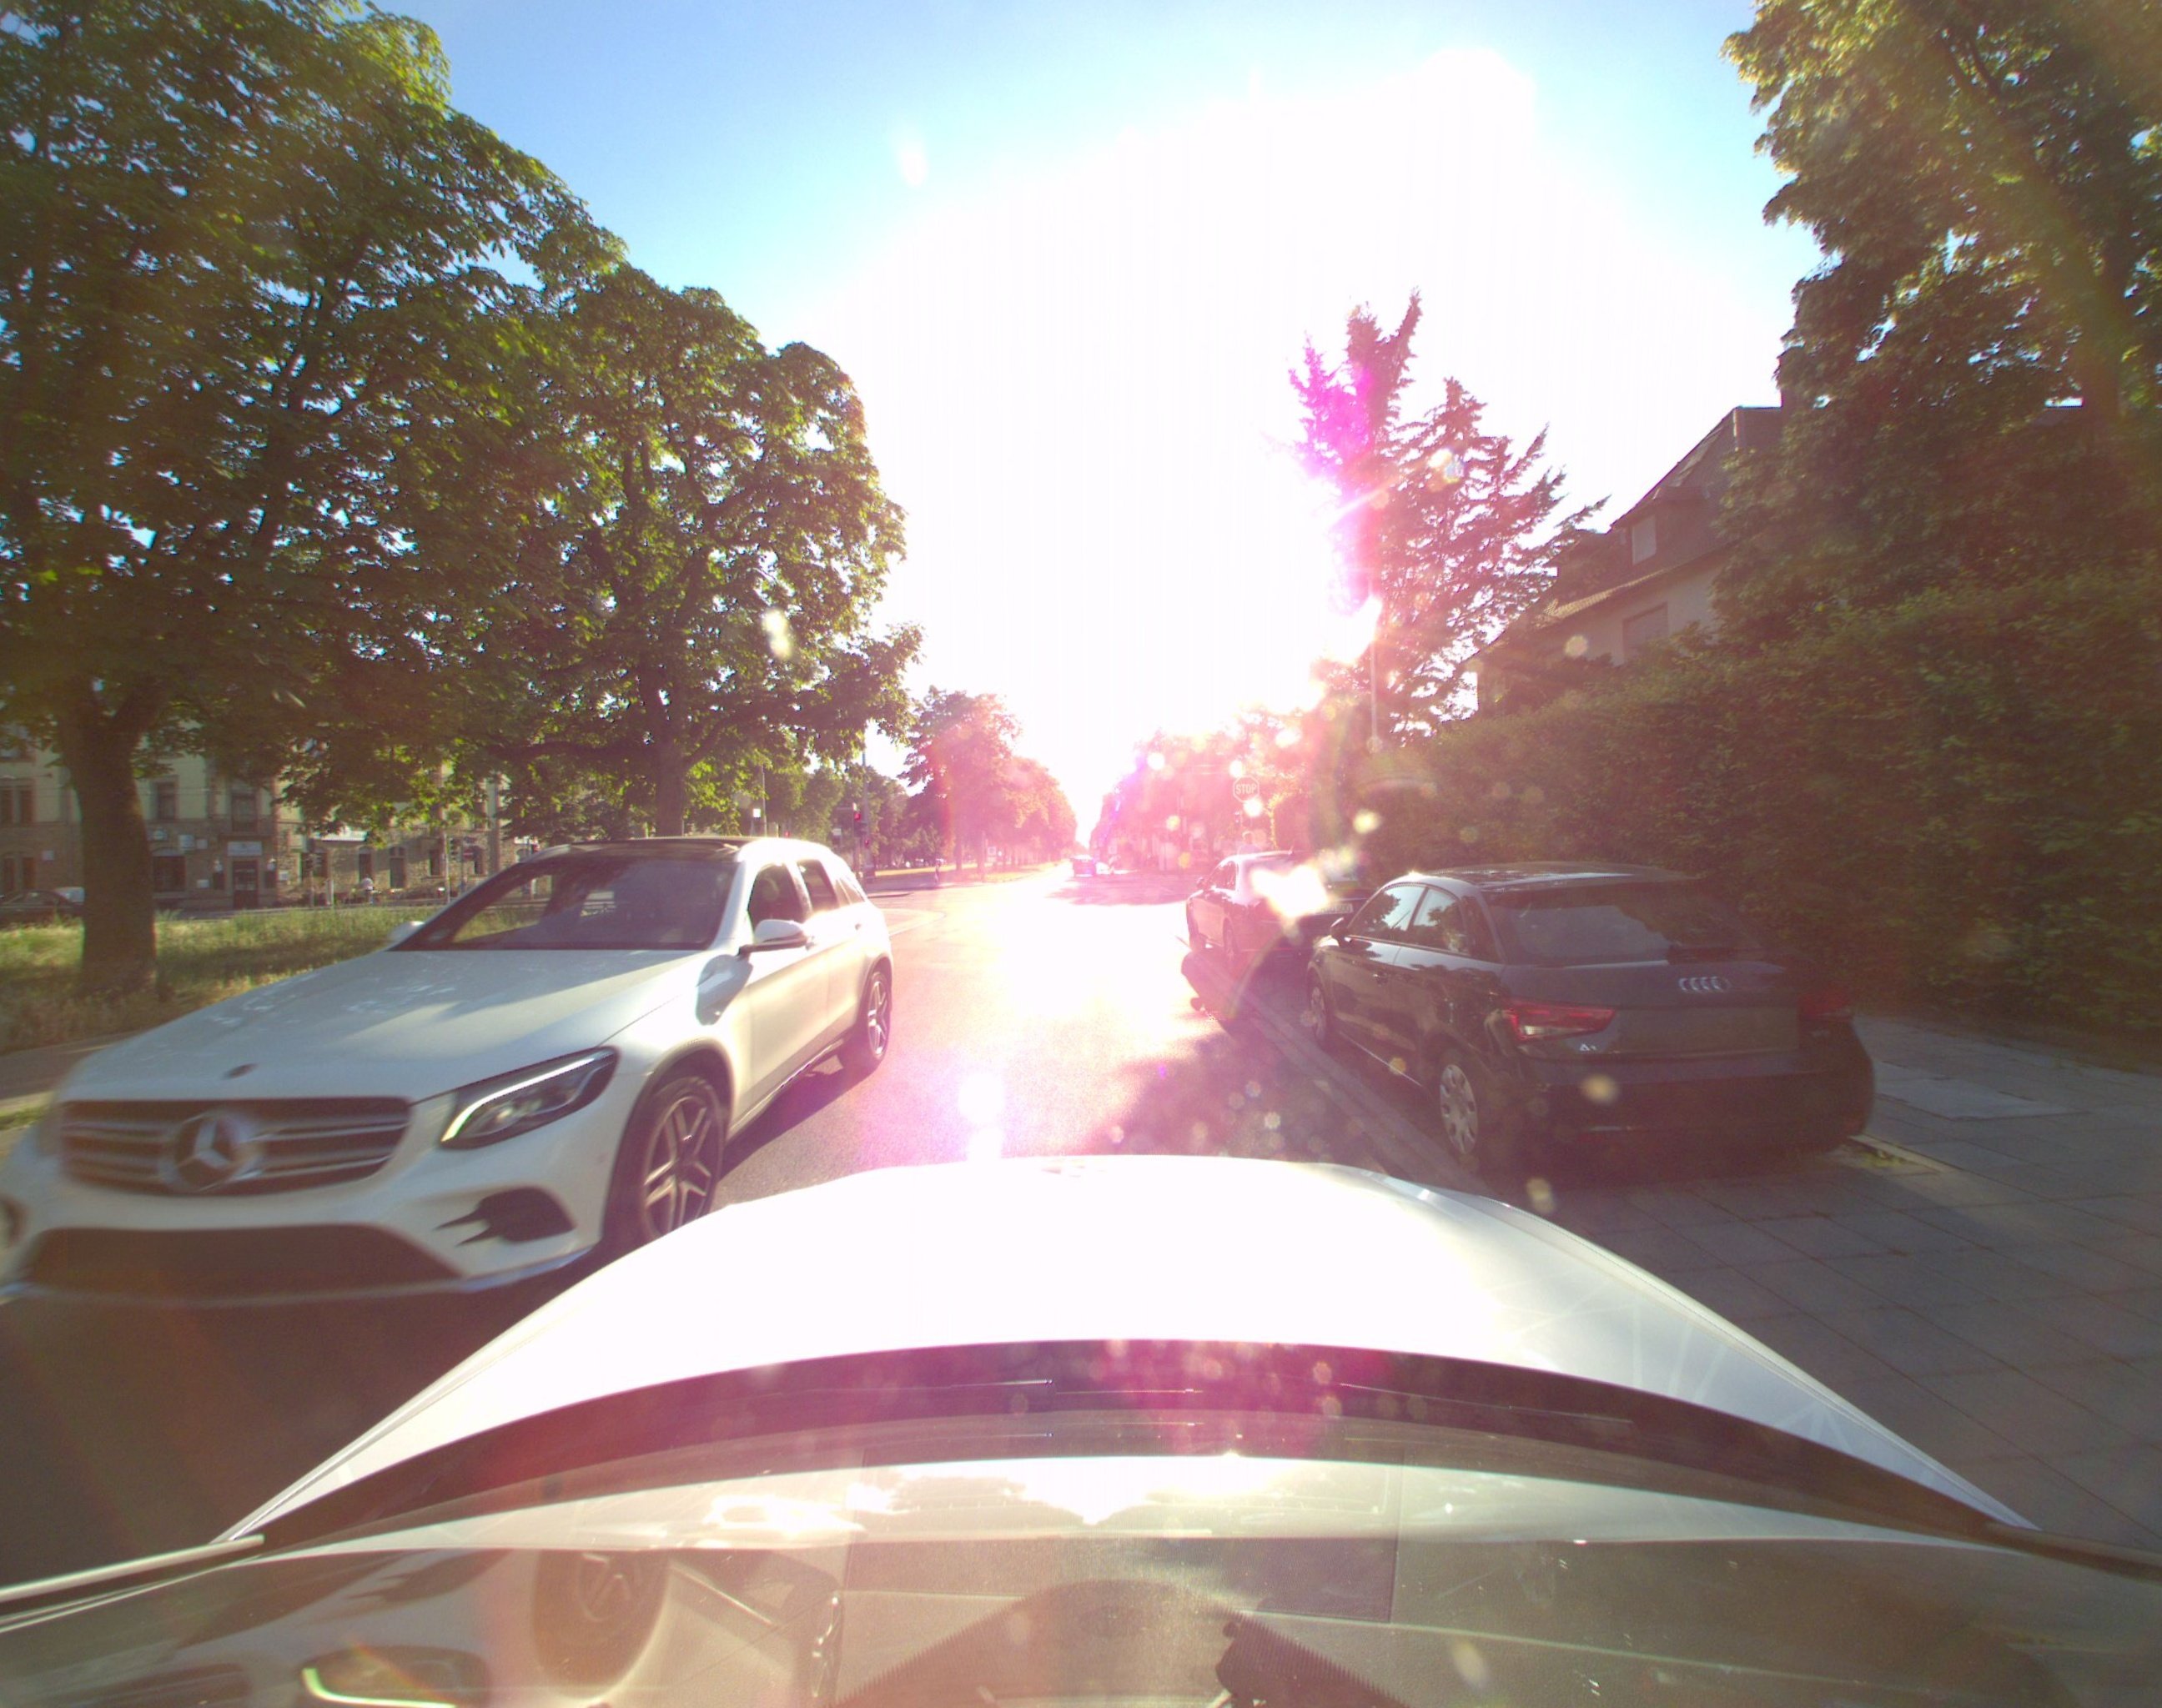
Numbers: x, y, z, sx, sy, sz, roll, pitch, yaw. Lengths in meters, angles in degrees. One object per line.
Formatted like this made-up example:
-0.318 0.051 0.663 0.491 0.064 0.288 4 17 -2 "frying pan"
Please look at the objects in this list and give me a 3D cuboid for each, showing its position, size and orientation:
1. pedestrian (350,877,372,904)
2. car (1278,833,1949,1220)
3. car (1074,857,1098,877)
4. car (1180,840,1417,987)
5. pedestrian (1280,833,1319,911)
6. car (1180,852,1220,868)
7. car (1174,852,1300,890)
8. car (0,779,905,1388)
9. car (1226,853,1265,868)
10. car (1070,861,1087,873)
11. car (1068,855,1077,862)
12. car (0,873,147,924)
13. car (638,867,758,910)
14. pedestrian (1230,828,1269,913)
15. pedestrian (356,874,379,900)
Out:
-44.761 2.256 50.617 0.724 1.642 0.812 -1 -1 -13 "pedestrian"
2.563 0.682 5.161 1.636 1.427 3.936 -3 0 0 "car"
0.408 0.993 61.952 1.634 1.451 3.309 -1 0 3 "car"
2.654 0.660 11.250 1.854 1.542 4.870 -1 0 -1 "car"
4.930 0.403 18.428 0.667 1.708 0.622 -1 -1 -3 "pedestrian"
12.127 0.558 83.098 3.767 1.525 1.744 -1 1 0 "car"
6.373 0.673 33.474 4.761 1.434 1.810 -1 -1 -8 "car"
-2.413 0.642 4.466 1.884 1.676 4.425 0 0 1 "car"
16.729 0.663 82.902 3.656 1.427 1.529 -1 -1 -4 "car"
-0.253 1.492 95.749 1.839 1.394 3.829 -1 0 1 "car"
-2.346 1.274 222.967 2.126 2.014 3.902 -1 0 1 "car"
-33.405 1.429 26.556 3.599 1.498 1.605 -1 0 -13 "car"
-14.084 1.241 30.135 3.688 1.488 1.735 -1 -1 -11 "car"
3.819 0.369 18.534 0.668 1.865 0.881 0 -1 -3 "pedestrian"
-45.161 2.089 51.583 0.808 1.642 0.727 -1 -1 8 "pedestrian"
